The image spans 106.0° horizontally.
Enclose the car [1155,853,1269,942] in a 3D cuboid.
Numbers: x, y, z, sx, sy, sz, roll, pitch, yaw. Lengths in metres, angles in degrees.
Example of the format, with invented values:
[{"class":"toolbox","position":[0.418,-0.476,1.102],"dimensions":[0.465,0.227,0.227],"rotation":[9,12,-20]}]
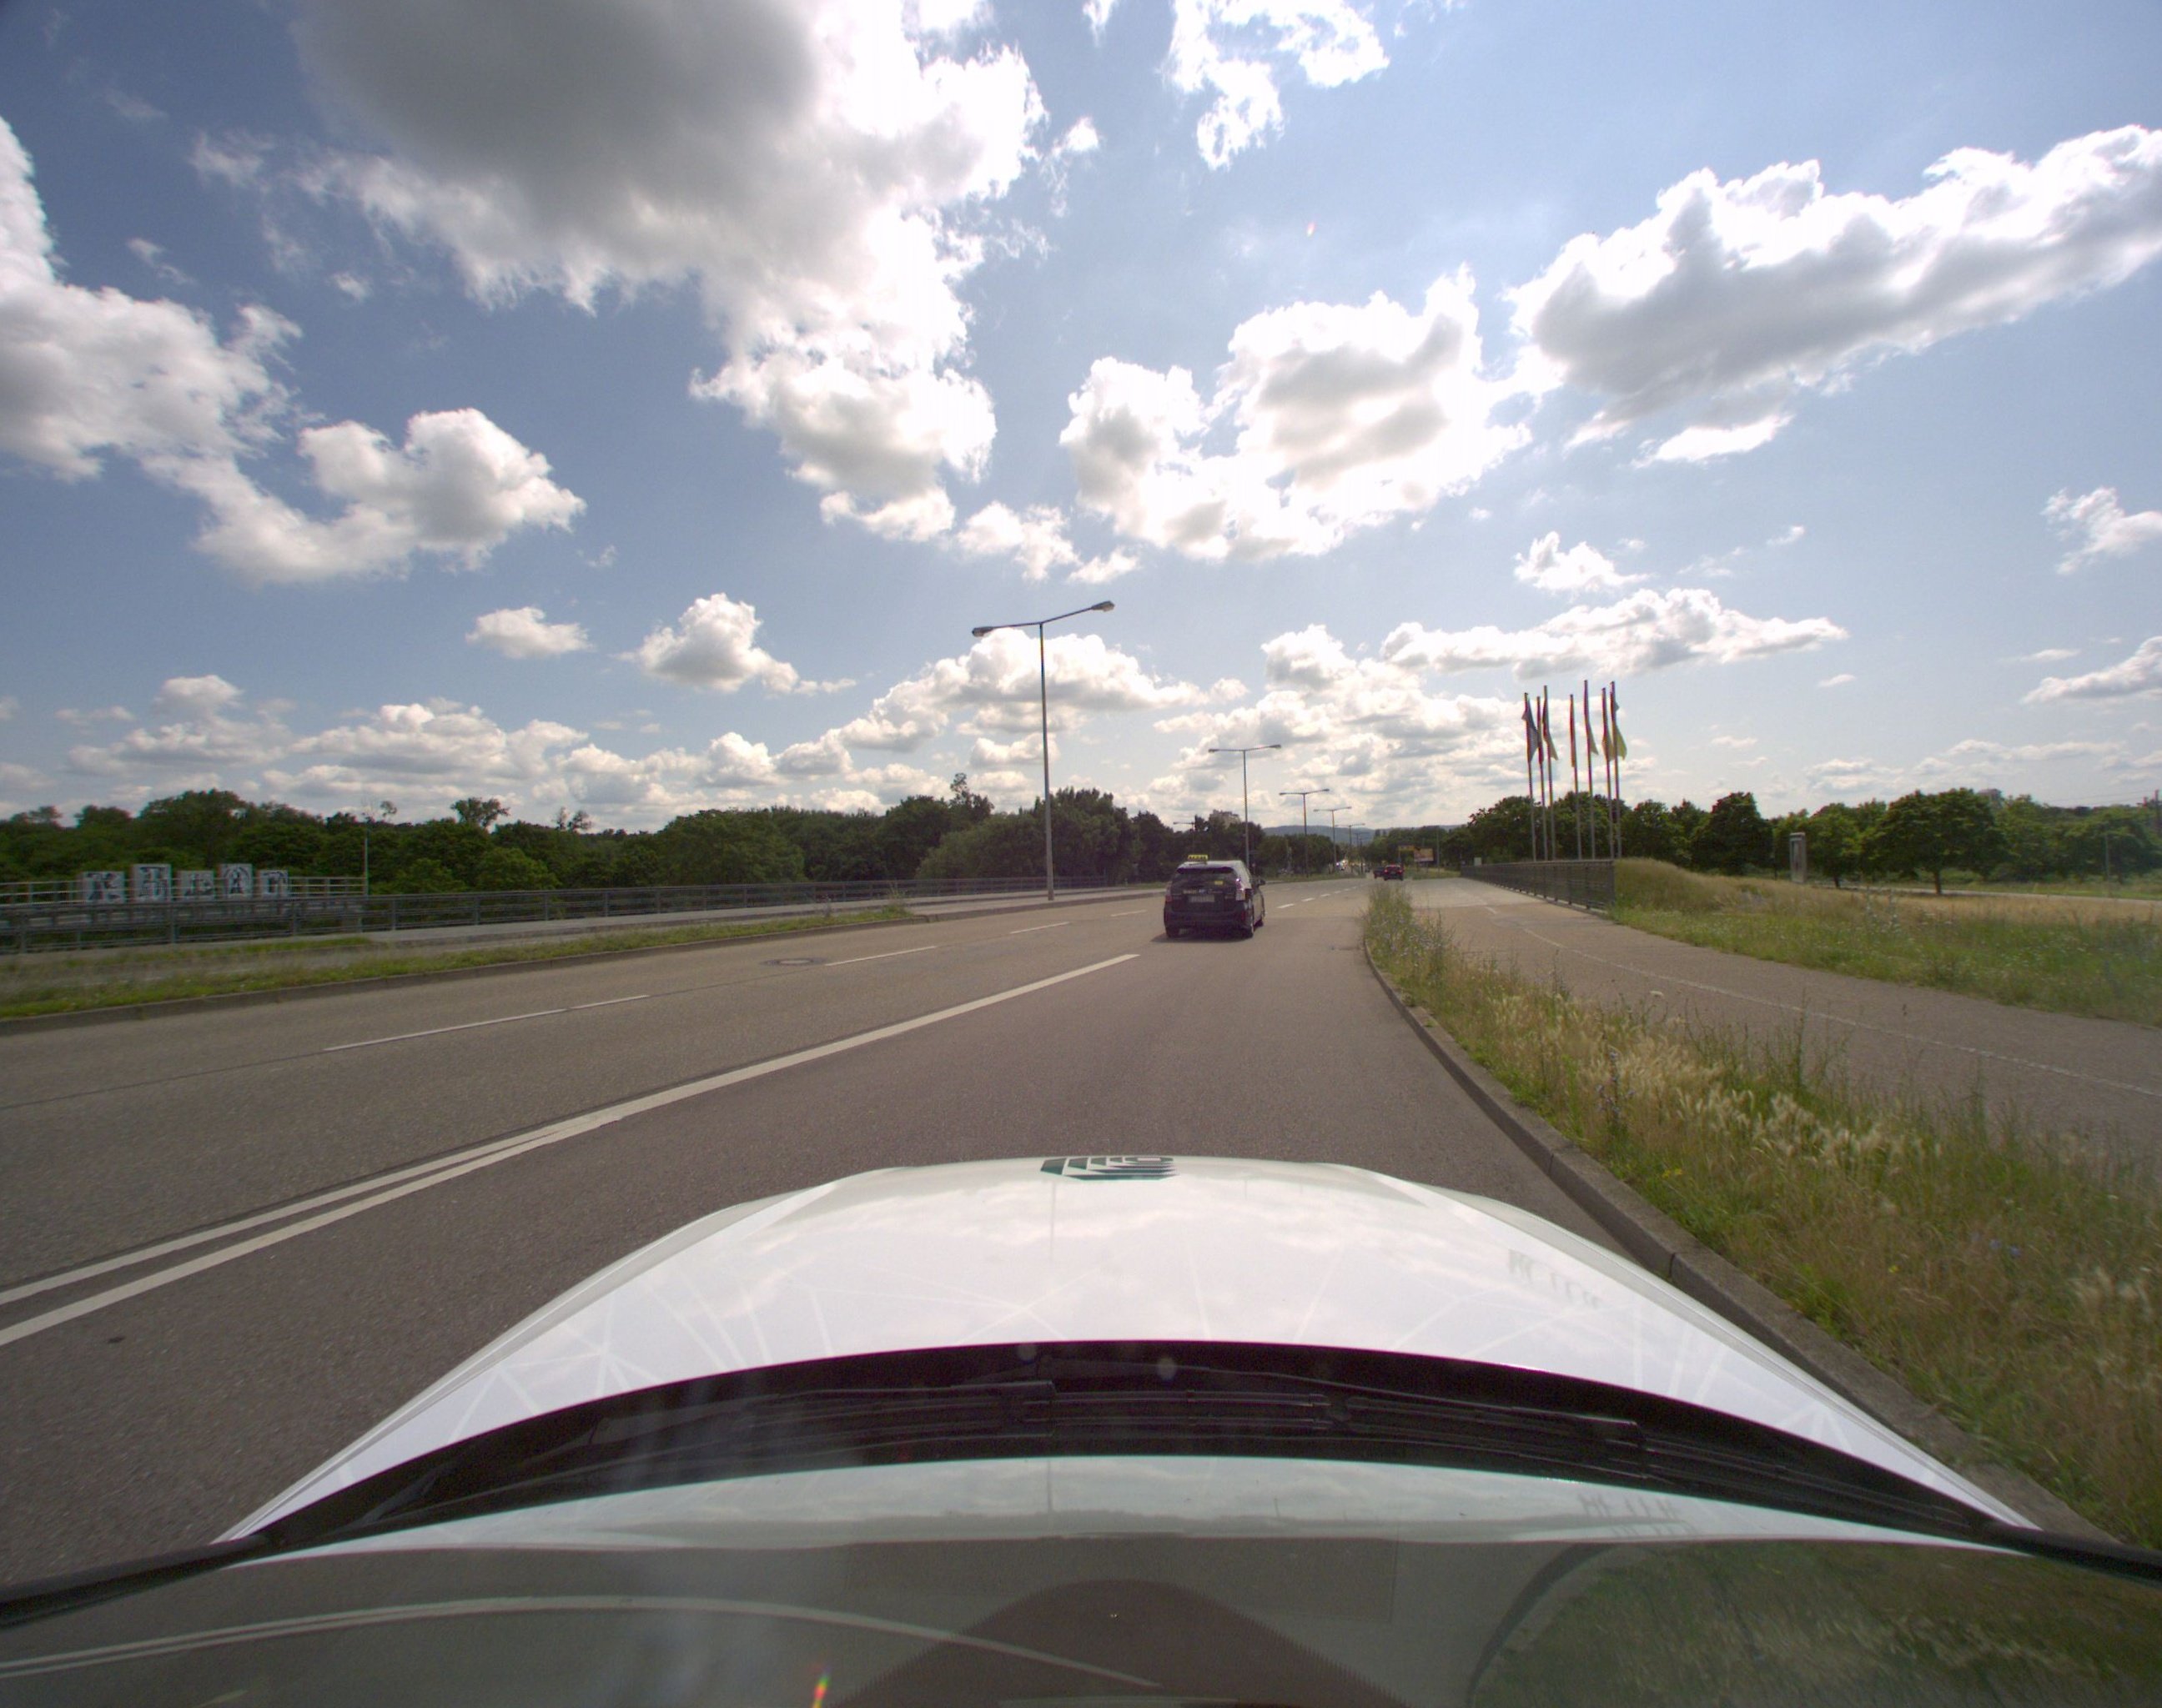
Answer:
[{"class":"car","position":[2.947,0.824,17.602],"dimensions":[1.765,1.684,4.019],"rotation":[-1,0,19]}]

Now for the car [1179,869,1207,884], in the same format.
[{"class":"car","position":[12.361,2.457,89.967],"dimensions":[2.070,1.626,4.573],"rotation":[-1,0,21]}]

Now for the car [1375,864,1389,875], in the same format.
[{"class":"car","position":[47.243,2.415,127.739],"dimensions":[1.977,1.662,4.019],"rotation":[-1,0,19]}]

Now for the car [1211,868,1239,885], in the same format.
[{"class":"car","position":[14.480,2.243,81.637],"dimensions":[1.648,1.413,4.575],"rotation":[-5,-2,24]}]

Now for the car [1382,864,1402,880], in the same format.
[{"class":"car","position":[35.453,2.022,92.834],"dimensions":[1.977,1.662,4.019],"rotation":[-1,0,19]}]

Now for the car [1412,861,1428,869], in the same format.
[{"class":"car","position":[79.259,2.597,190.467],"dimensions":[1.987,1.662,4.000],"rotation":[0,0,0]}]
